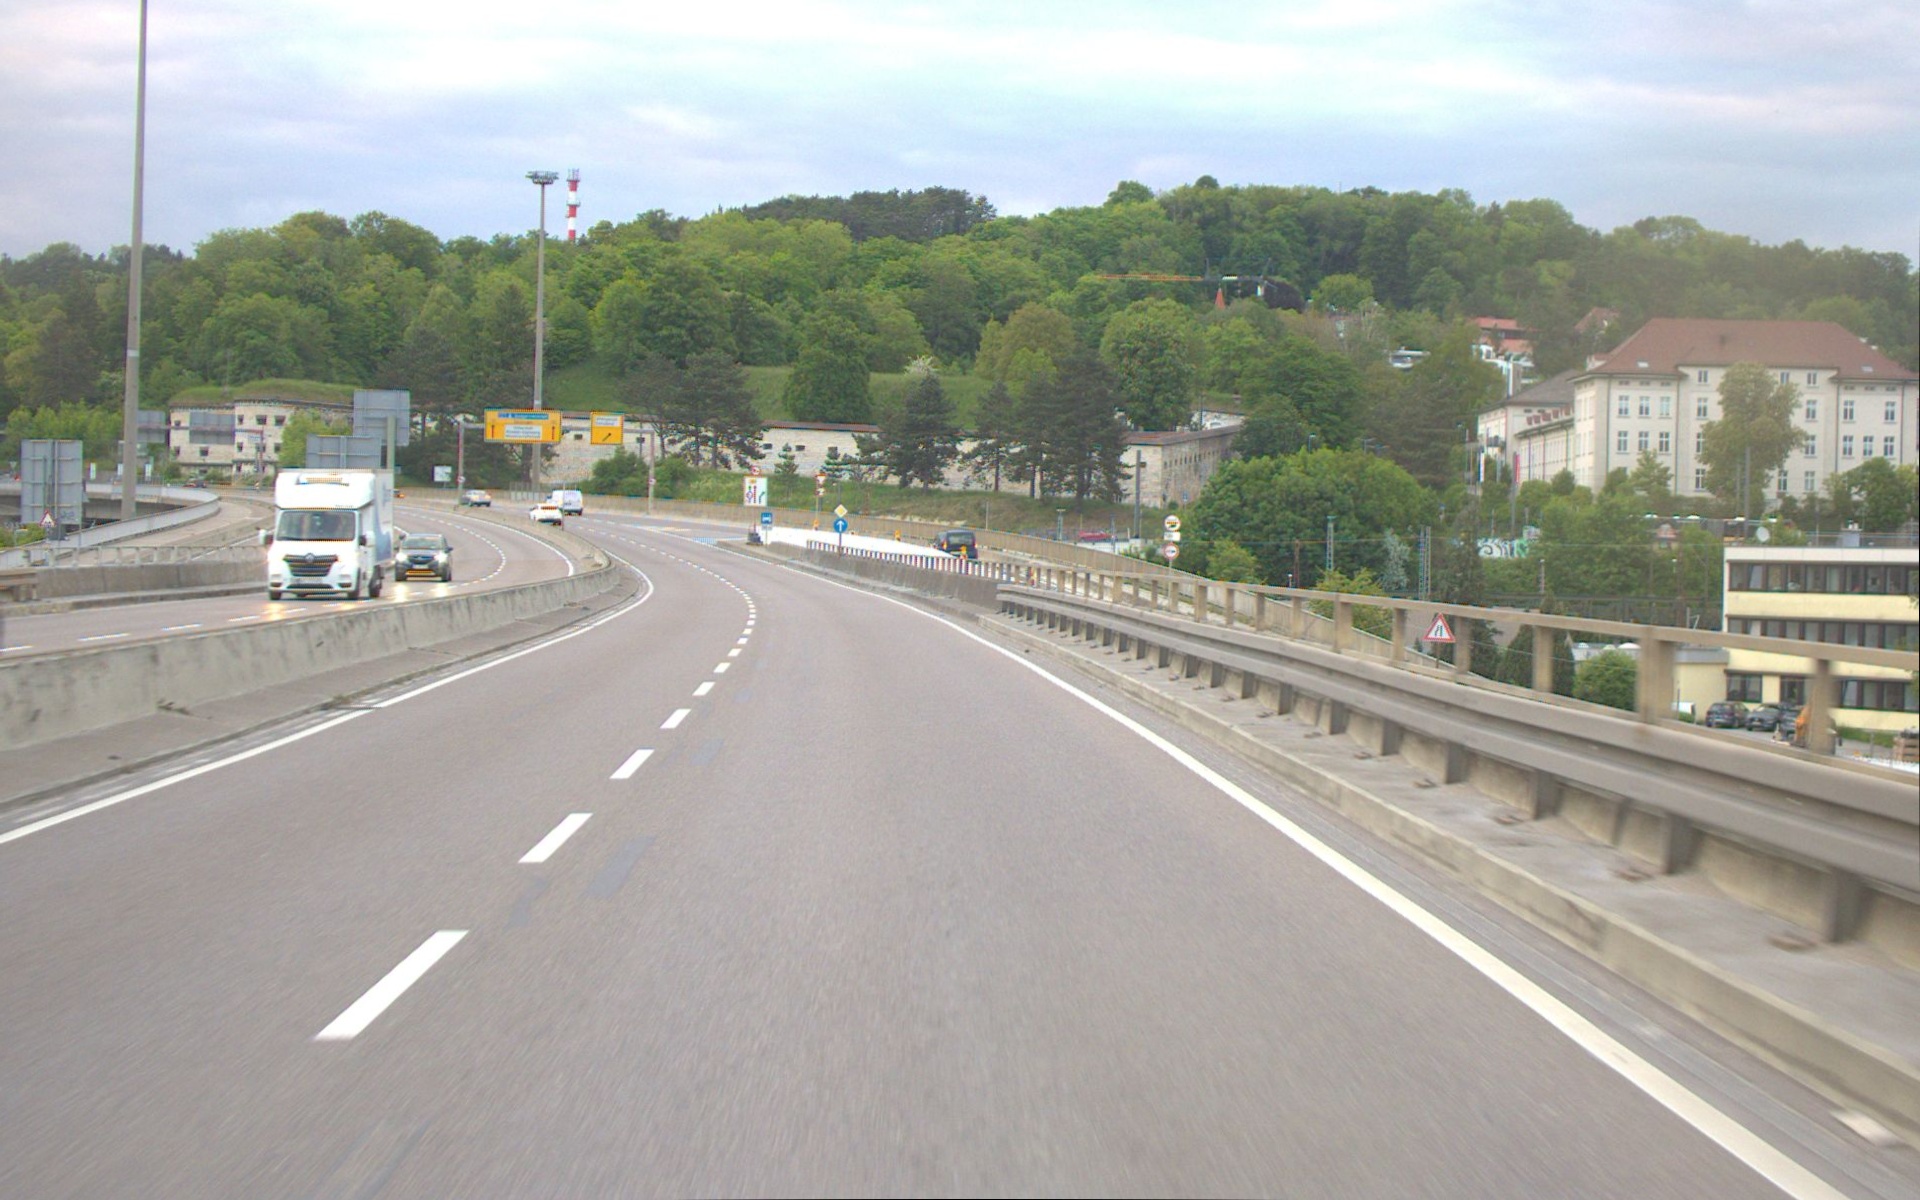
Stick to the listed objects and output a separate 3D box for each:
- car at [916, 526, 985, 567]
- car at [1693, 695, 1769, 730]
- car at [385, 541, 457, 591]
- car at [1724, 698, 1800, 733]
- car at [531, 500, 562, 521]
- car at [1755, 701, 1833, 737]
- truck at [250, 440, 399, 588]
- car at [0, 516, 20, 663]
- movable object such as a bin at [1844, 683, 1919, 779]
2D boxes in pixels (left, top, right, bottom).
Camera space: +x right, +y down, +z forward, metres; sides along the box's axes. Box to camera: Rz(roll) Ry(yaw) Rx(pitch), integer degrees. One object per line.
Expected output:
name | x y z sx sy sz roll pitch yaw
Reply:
car | -0.472 -2.546 162.799 2.304 1.757 4.264 2 2 -13
car | 43.063 6.281 191.997 3.987 1.560 1.832 4 3 -37
car | -17.816 -1.126 113.824 1.976 1.600 4.442 1 1 -4
car | 44.055 6.338 188.849 3.987 1.560 1.832 4 3 -37
car | -27.967 -6.061 232.351 1.630 1.383 4.002 0 3 -13
car | 44.898 6.404 184.995 3.987 1.560 1.832 4 3 -37
truck | -14.827 -1.989 80.674 2.534 3.285 7.447 1 1 -3
car | -10.217 -0.072 32.842 1.628 1.436 3.837 0 2 -3
movable object such as a bin | 46.762 6.570 171.056 2.774 4.295 4.959 7 0 -16
